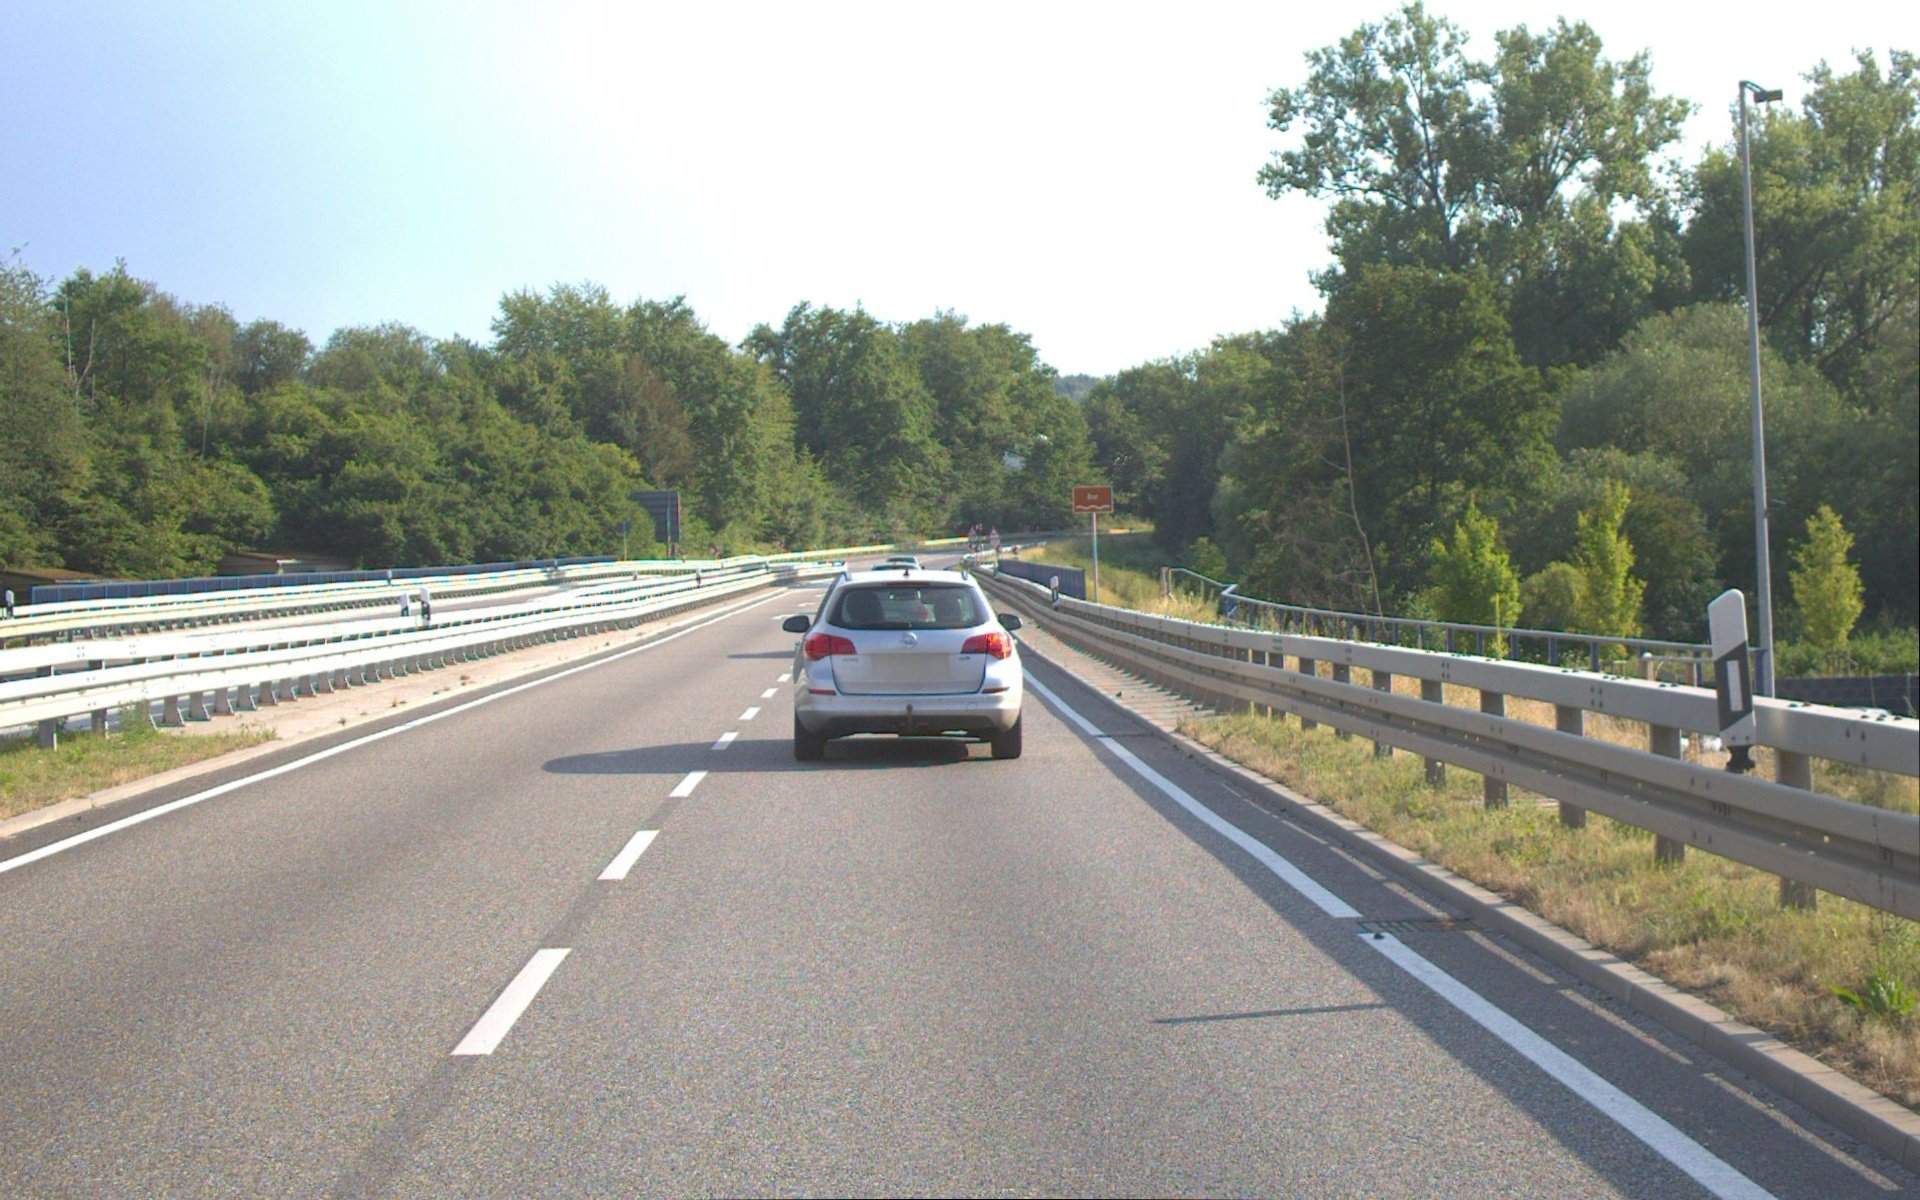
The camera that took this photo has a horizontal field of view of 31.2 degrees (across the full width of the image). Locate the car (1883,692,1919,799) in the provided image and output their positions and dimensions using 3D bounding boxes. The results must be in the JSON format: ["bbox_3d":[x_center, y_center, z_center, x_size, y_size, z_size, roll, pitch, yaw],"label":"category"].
[{"bbox_3d":[14.455,2.093,48.812,1.706,1.459,4.000,0,0,1],"label":"car"}]

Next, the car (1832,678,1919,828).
[{"bbox_3d":[12.289,1.867,42.945,1.775,1.678,4.000,0,0,0],"label":"car"}]

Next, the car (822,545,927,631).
[{"bbox_3d":[-1.507,-0.211,60.806,1.809,1.481,4.000,0,0,-1],"label":"car"}]

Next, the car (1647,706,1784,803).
[{"bbox_3d":[12.885,2.616,58.816,1.706,1.459,3.999,0,0,4],"label":"car"}]

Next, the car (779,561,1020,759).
[{"bbox_3d":[-0.498,0.443,27.809,1.809,1.481,4.000,0,0,-1],"label":"car"}]
